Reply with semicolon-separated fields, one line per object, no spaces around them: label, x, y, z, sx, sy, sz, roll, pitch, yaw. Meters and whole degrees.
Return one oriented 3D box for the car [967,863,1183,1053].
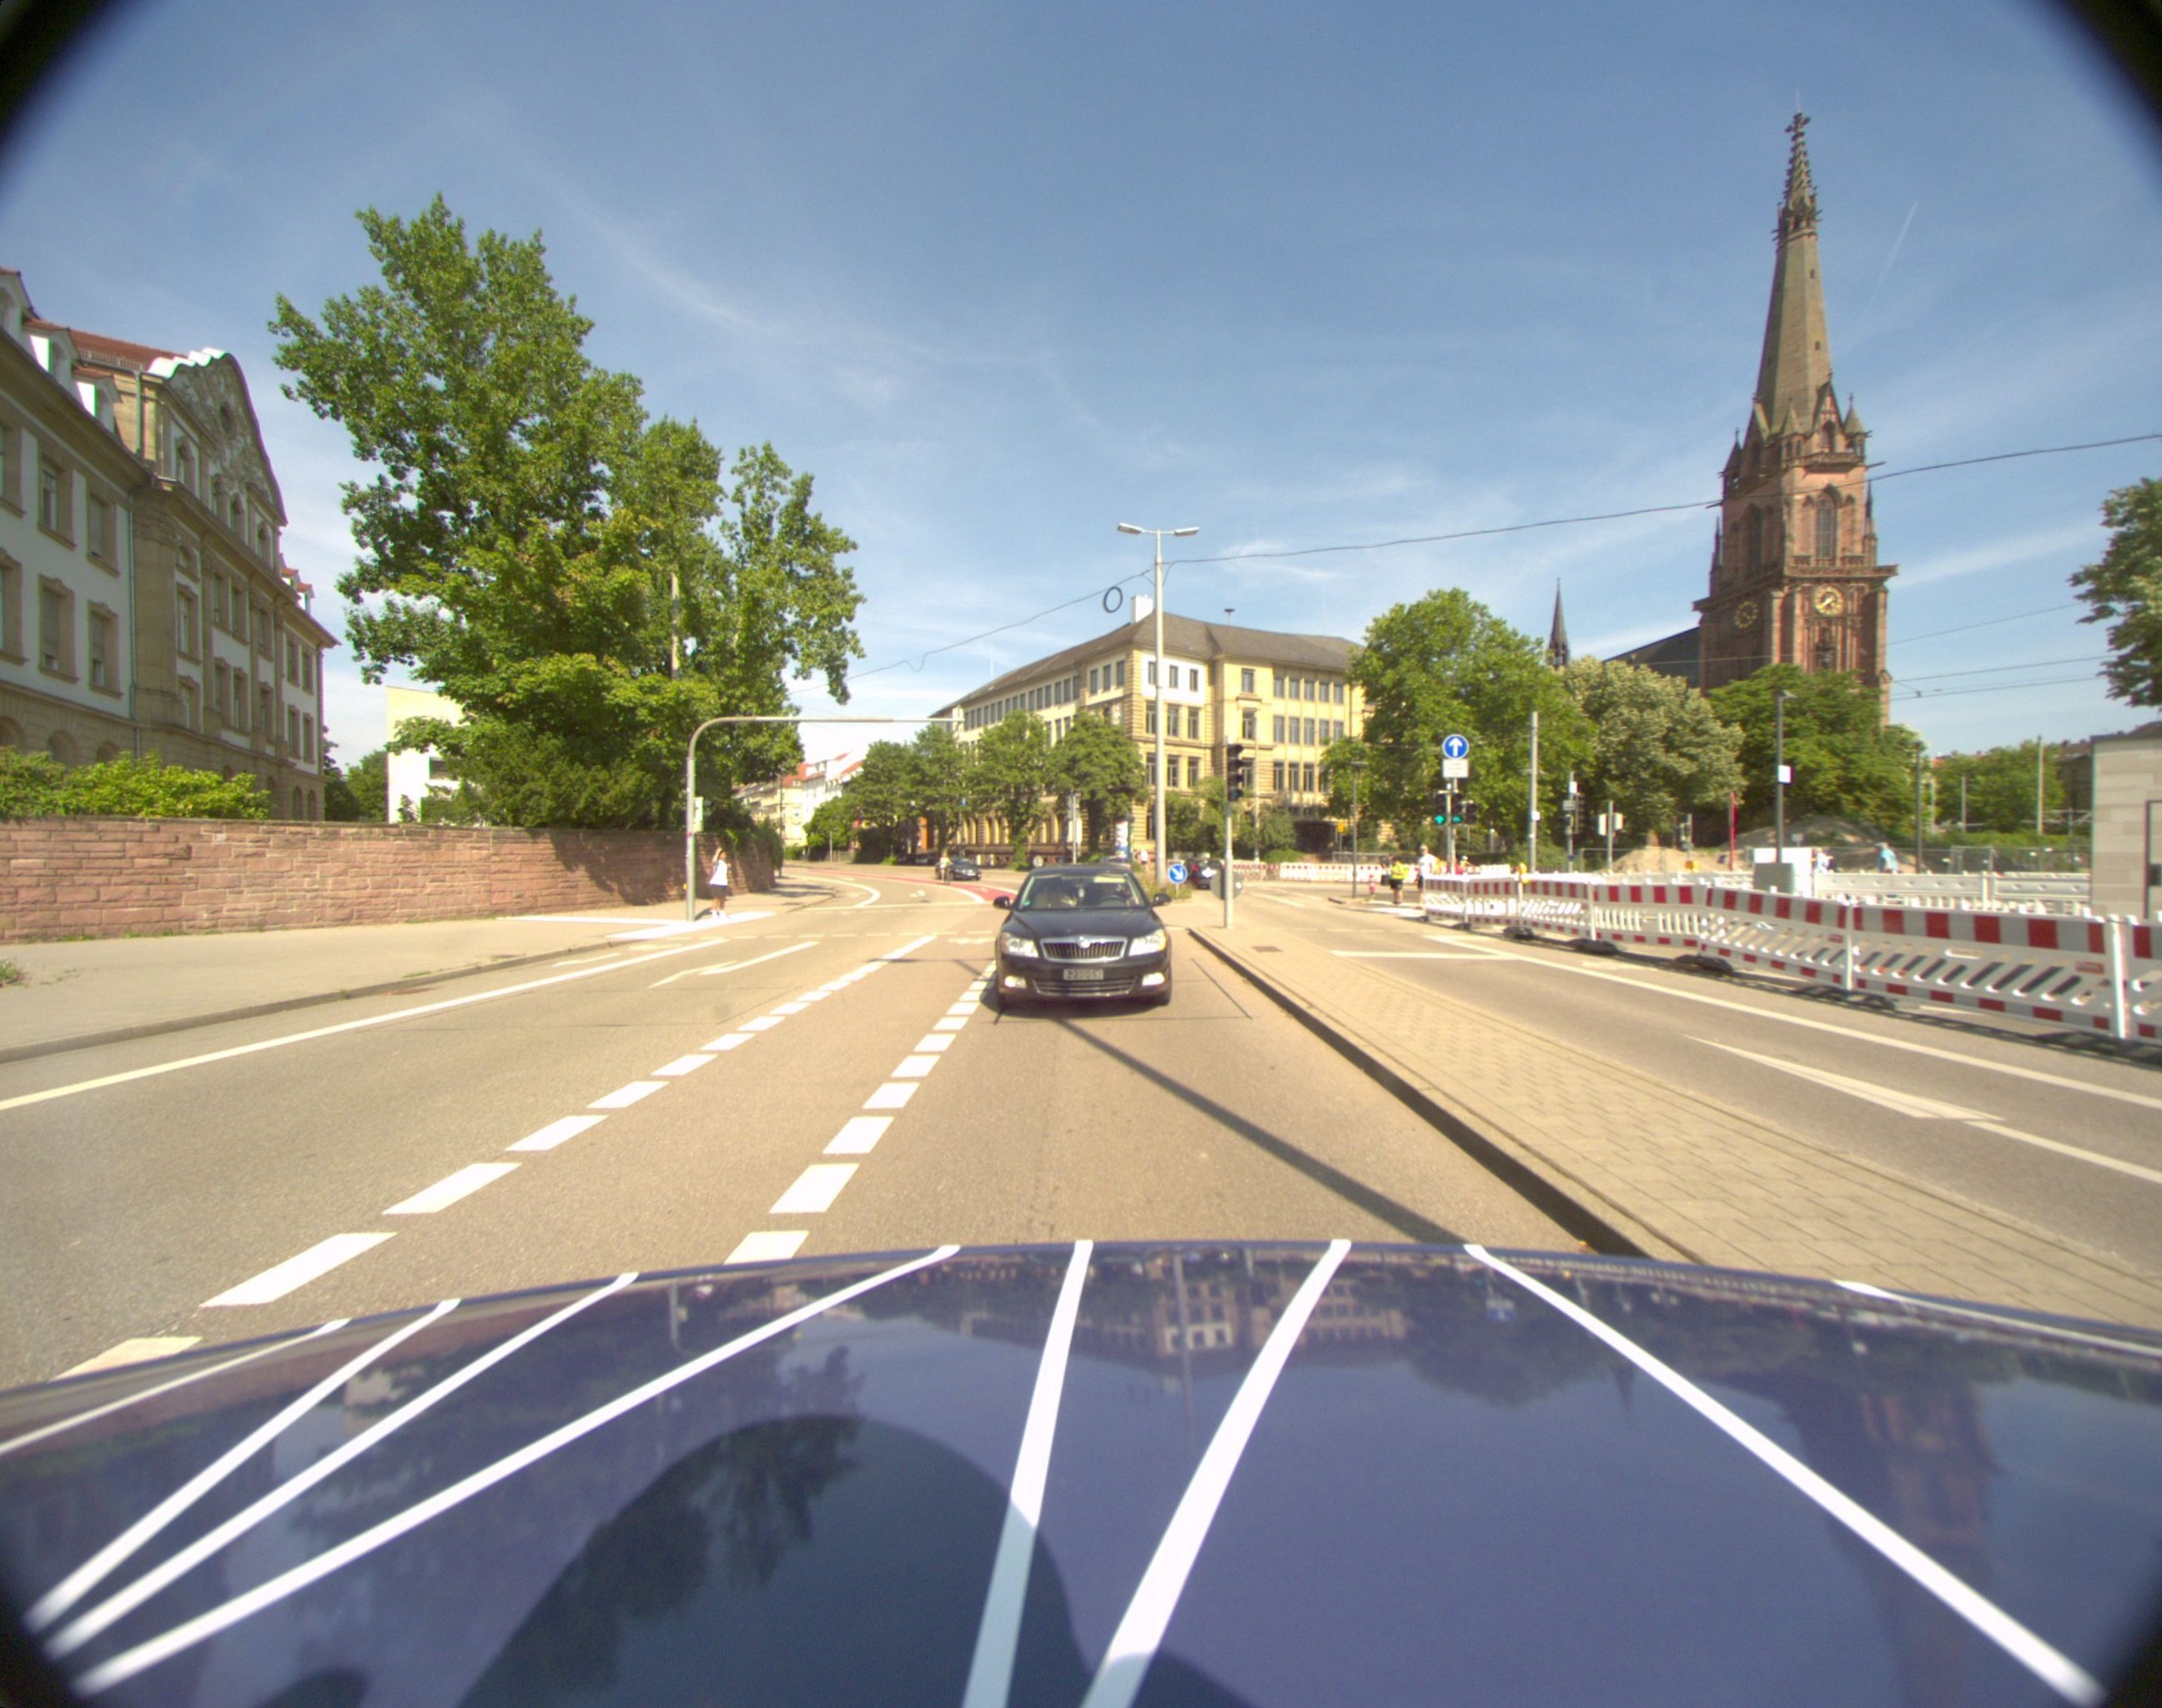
car;-0.033;0.931;8.984;1.864;1.510;4.826;0;1;0

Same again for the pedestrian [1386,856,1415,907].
pedestrian;9.899;0.837;23.547;0.667;1.534;0.423;-3;1;7

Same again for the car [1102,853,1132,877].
car;2.243;0.641;48.428;1.798;1.403;4.000;2;0;1

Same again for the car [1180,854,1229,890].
car;5.547;0.774;34.531;1.670;1.442;3.818;2;0;1

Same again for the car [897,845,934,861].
car;-20.402;-0.126;93.746;4.008;2.002;1.994;0;1;-35

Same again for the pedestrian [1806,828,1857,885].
pedestrian;21.452;0.066;21.724;0.792;1.606;0.663;0;0;10

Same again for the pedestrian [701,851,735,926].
pedestrian;-9.292;0.878;19.480;0.654;1.863;0.795;2;0;-18

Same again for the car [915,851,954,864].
car;-17.162;0.391;89.009;4.008;1.455;1.994;0;0;-35

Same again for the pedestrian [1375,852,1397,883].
pedestrian;16.454;0.708;41.050;0.939;1.646;0.845;0;1;9

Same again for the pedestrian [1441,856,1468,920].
pedestrian;9.500;0.846;19.336;0.350;1.606;0.686;0;1;2

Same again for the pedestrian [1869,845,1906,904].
pedestrian;22.294;0.549;21.009;0.584;1.606;0.691;0;0;36

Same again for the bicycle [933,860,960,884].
bicycle;-7.355;0.962;41.374;0.687;1.215;2.181;0;1;-32

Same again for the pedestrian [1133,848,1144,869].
pedestrian;4.713;0.376;62.080;0.743;1.739;0.586;1;1;34

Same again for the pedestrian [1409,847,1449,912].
pedestrian;9.795;0.700;21.414;0.840;1.802;0.650;0;0;5

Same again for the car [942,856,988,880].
car;-7.223;0.809;46.949;1.805;1.368;4.268;-1;1;-22

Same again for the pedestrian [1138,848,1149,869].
pedestrian;5.147;0.374;62.815;0.743;1.739;0.586;1;1;33

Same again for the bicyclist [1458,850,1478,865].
bicyclist;23.993;0.227;47.127;0.684;0.922;0.867;-1;1;-38

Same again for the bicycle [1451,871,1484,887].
bicycle;23.987;1.529;47.163;0.703;0.941;1.661;0;1;-39

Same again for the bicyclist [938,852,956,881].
bicyclist;-7.277;0.676;41.297;0.589;1.539;0.929;-3;2;-31
